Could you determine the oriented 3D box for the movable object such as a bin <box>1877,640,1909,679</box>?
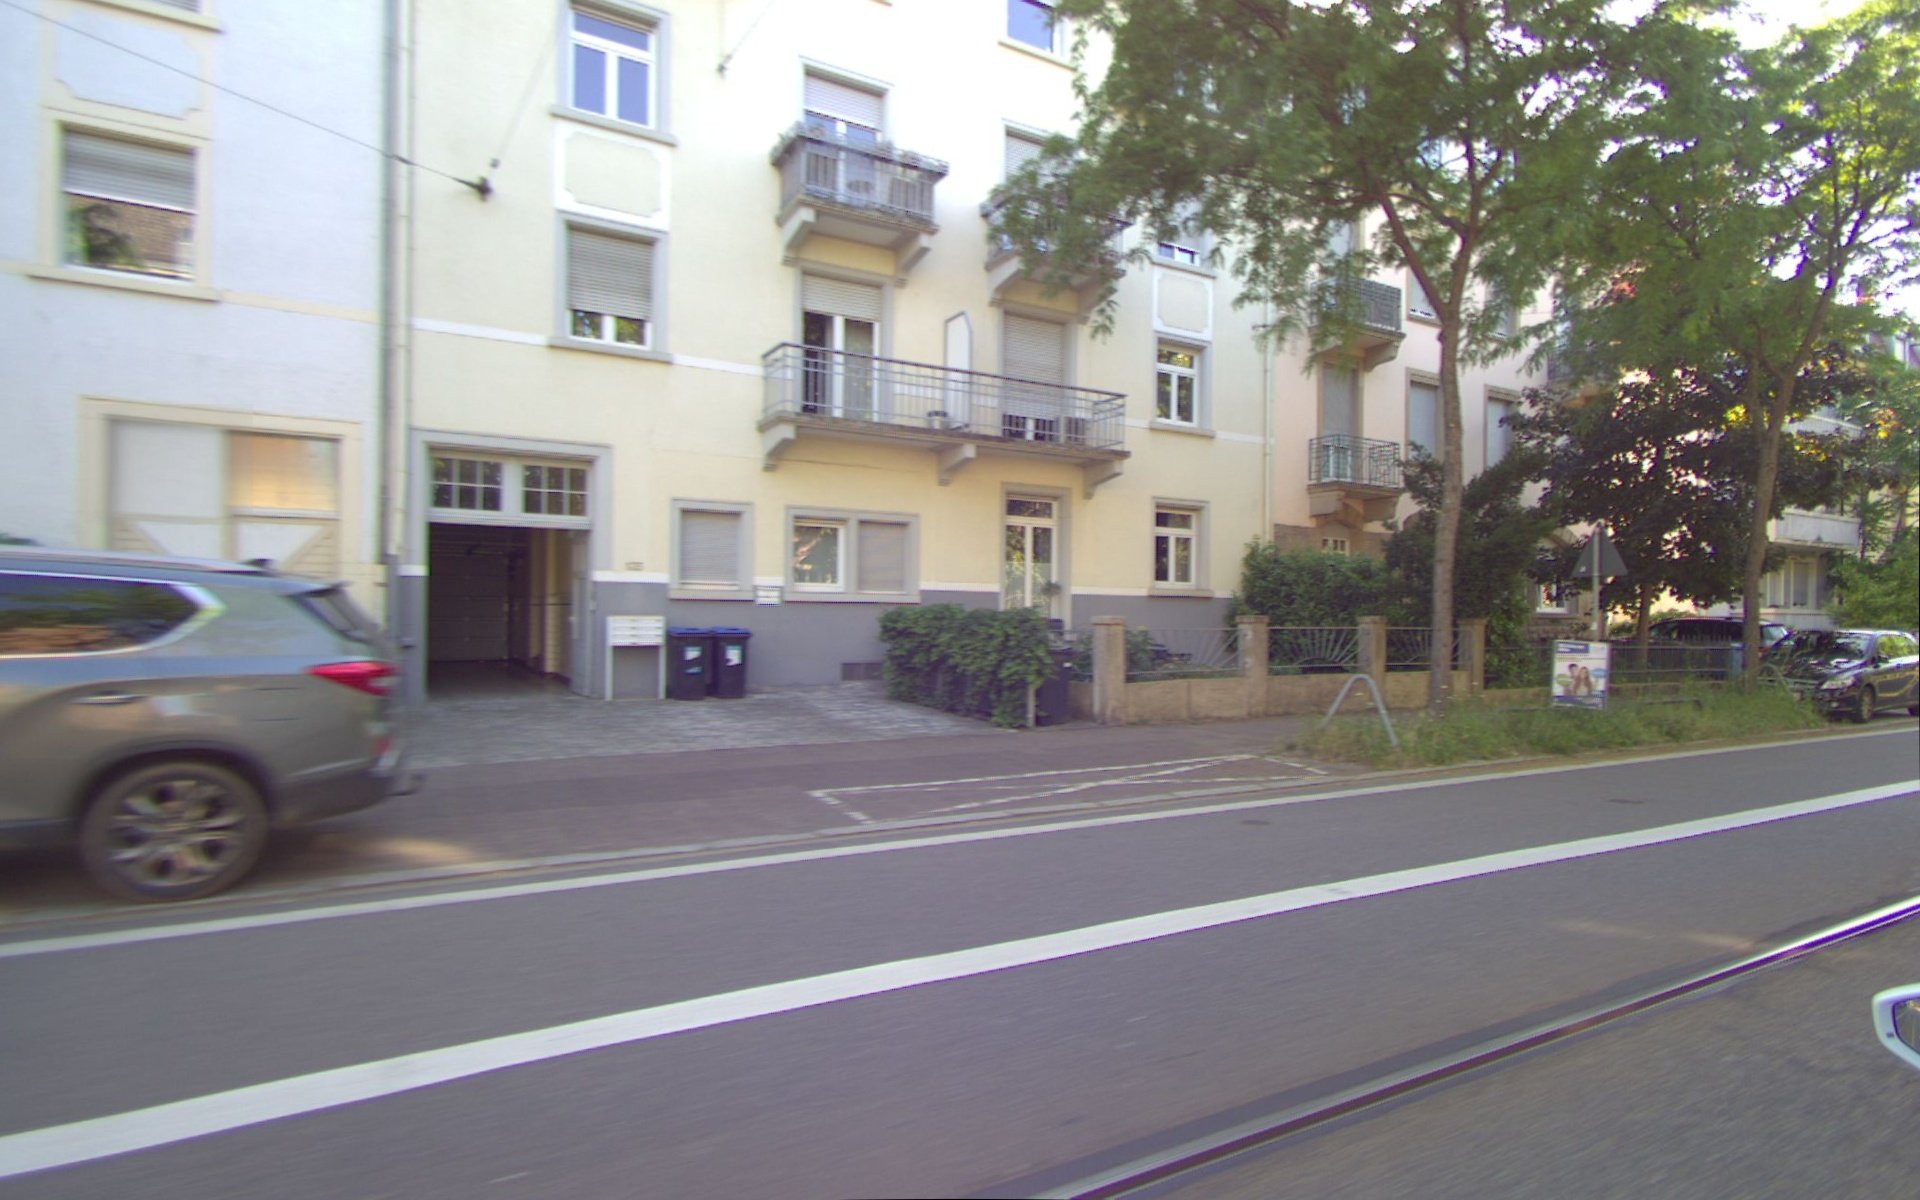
[{"bbox_3d":[26.019,1.653,28.003,0.504,1.080,0.534,1,-1,-30],"label":"movable object such as a bin"}]

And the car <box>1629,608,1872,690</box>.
[{"bbox_3d":[18.787,1.095,24.065,1.961,1.681,4.144,1,0,-31],"label":"car"}]

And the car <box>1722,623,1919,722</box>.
[{"bbox_3d":[16.005,1.241,18.341,4.433,1.562,1.768,1,0,-30],"label":"car"}]

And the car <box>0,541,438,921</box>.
[{"bbox_3d":[-5.545,0.622,5.426,4.718,1.847,1.860,1,0,-32],"label":"car"}]

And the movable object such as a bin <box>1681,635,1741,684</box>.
[{"bbox_3d":[17.243,1.343,23.062,0.804,1.080,0.871,1,-1,-30],"label":"movable object such as a bin"}]

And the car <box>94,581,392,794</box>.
[{"bbox_3d":[-7.053,0.680,10.367,1.928,1.683,4.282,1,1,-28],"label":"car"}]
